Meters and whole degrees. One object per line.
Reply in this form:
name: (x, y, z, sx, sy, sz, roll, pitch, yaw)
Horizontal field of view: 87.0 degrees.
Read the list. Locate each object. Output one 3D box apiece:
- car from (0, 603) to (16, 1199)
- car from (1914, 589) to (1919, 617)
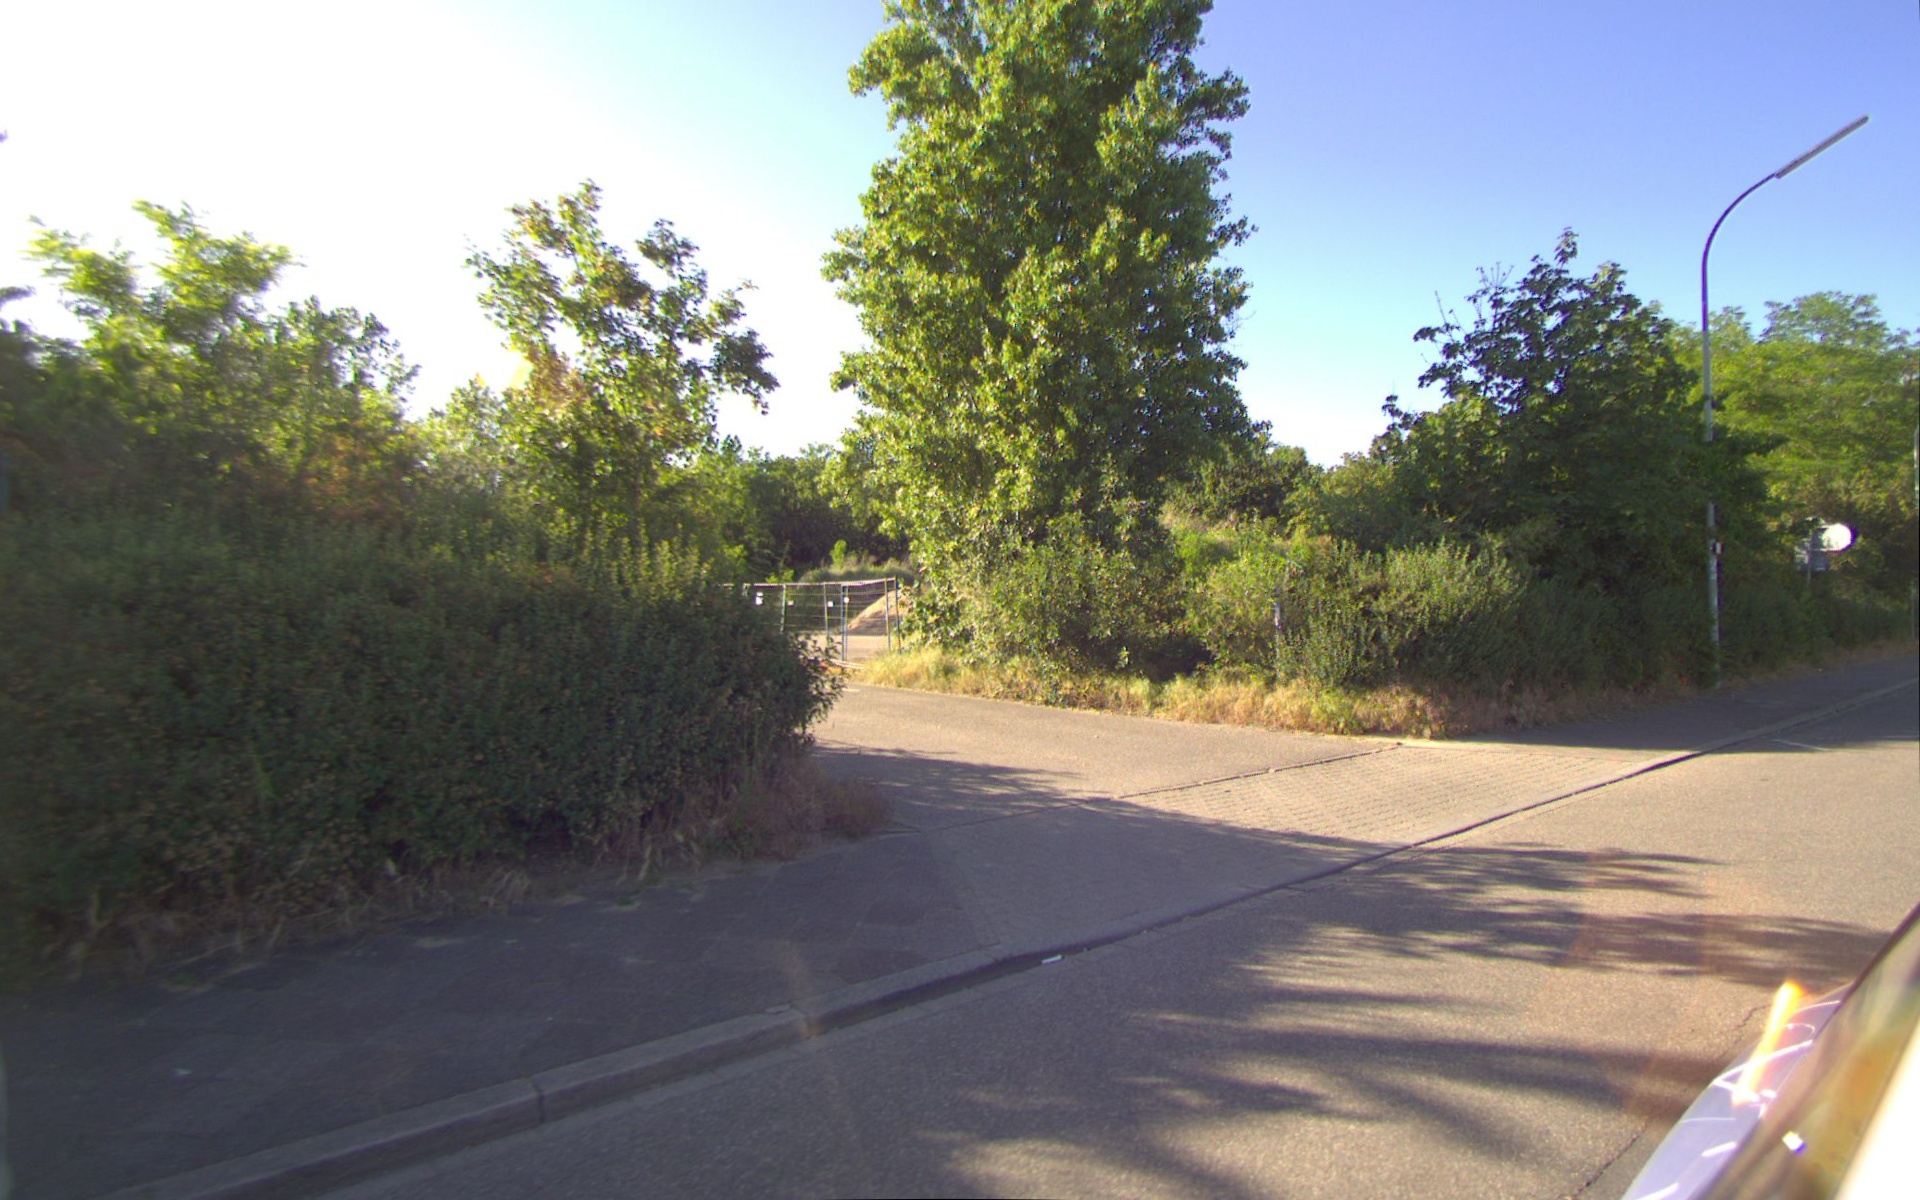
car: (-3.027, 0.773, 0.589, 3.491, 1.558, 1.559, -1, -3, -39)
car: (61.470, 0.199, 62.057, 1.744, 1.717, 4.154, 0, 0, -41)
